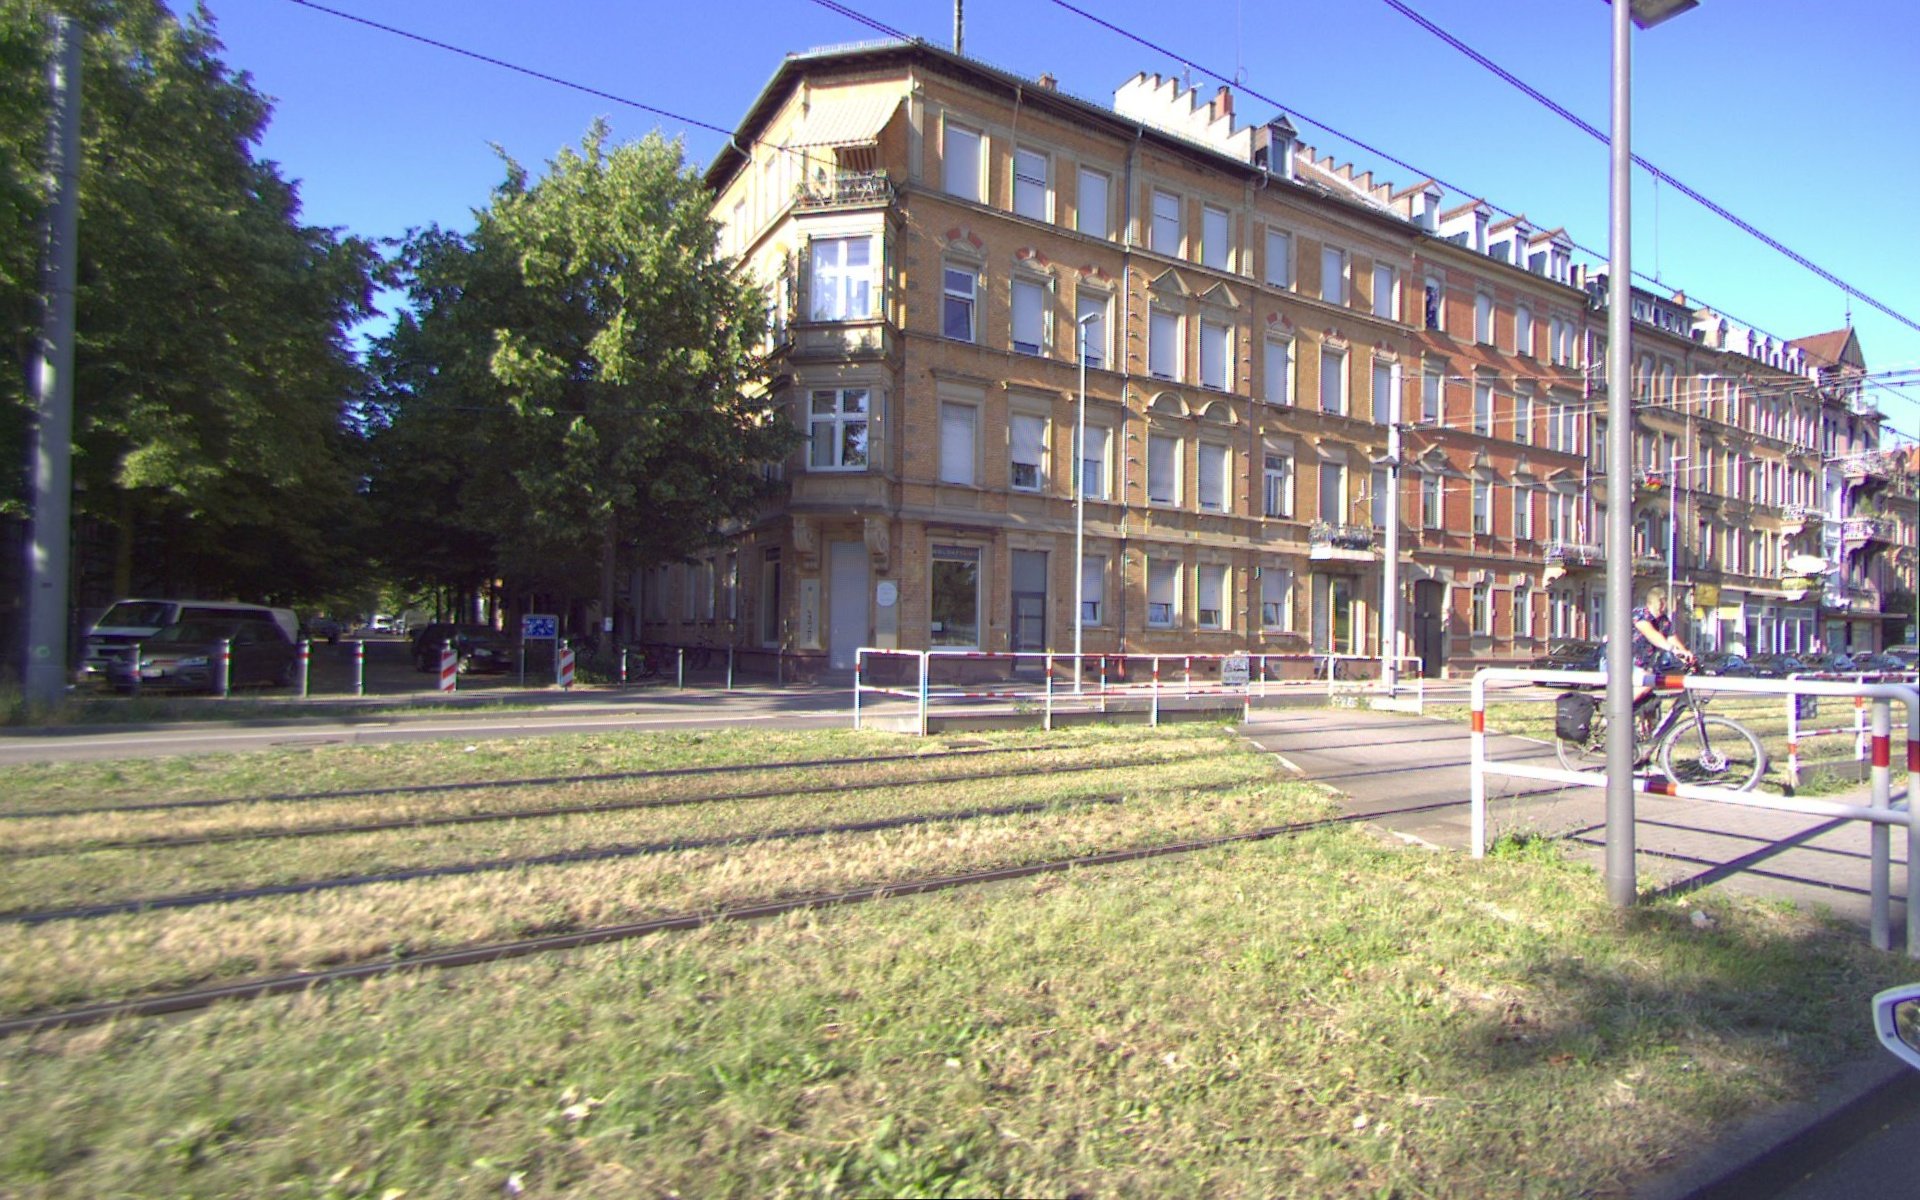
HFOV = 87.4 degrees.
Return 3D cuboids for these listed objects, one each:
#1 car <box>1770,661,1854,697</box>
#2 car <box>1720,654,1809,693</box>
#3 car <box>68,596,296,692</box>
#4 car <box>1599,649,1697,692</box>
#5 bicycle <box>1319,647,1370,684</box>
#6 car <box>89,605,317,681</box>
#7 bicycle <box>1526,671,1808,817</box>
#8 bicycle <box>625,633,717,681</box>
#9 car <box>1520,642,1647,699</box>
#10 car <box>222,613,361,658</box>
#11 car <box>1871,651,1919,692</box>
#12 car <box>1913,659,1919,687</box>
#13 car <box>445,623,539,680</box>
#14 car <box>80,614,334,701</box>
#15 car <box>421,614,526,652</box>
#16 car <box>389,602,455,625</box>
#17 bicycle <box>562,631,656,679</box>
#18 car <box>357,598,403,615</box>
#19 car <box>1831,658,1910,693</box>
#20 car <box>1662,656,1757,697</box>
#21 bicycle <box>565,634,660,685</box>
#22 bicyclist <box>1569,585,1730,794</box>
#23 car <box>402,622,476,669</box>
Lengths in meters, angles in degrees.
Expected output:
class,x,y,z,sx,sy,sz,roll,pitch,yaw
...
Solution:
class,x,y,z,sx,sy,sz,roll,pitch,yaw
car,38.444,3.533,45.319,3.865,1.425,1.767,1,0,-32
car,34.505,3.115,43.045,3.865,1.425,1.767,1,0,-32
car,-18.552,0.979,24.299,1.961,2.040,4.613,2,0,-2
car,26.113,2.661,38.111,3.492,1.486,1.766,3,0,-32
bicycle,13.144,2.231,34.313,1.731,1.196,0.695,2,0,-31
car,-21.826,1.178,29.281,2.026,1.943,5.011,2,0,18
bicycle,6.141,1.194,8.884,0.755,1.054,1.949,1,-2,-22
bicycle,-7.713,1.530,26.859,2.214,1.194,0.781,2,0,-30
car,22.200,2.451,35.727,4.506,1.777,2.005,1,0,-32
car,-31.117,1.646,46.875,2.036,1.943,4.987,2,0,40
car,48.071,3.589,51.076,3.856,1.879,1.554,1,0,-32
car,53.731,4.025,54.855,3.623,1.477,1.554,1,0,-32
car,-14.139,1.518,30.239,1.979,1.491,4.154,3,-1,-33
car,-14.834,1.071,20.141,1.961,1.491,4.191,2,-1,-2
car,-26.921,1.856,55.642,4.959,1.943,2.048,2,0,-34
car,-48.066,1.212,89.745,4.959,1.943,2.048,2,0,-34
bicycle,-9.332,1.467,26.741,2.216,1.194,0.780,2,0,-33
car,-74.335,0.830,128.744,4.959,1.943,2.048,2,0,-34
car,43.458,3.567,47.947,3.934,1.425,1.767,1,0,-32
car,30.243,3.038,40.504,3.865,1.425,1.767,1,0,-32
bicycle,-8.839,1.518,25.601,2.206,1.194,0.784,2,0,-20
bicyclist,6.110,0.760,8.935,0.755,1.738,0.917,1,-2,-22
car,-19.044,1.635,36.630,1.979,1.491,4.154,3,-1,-33
